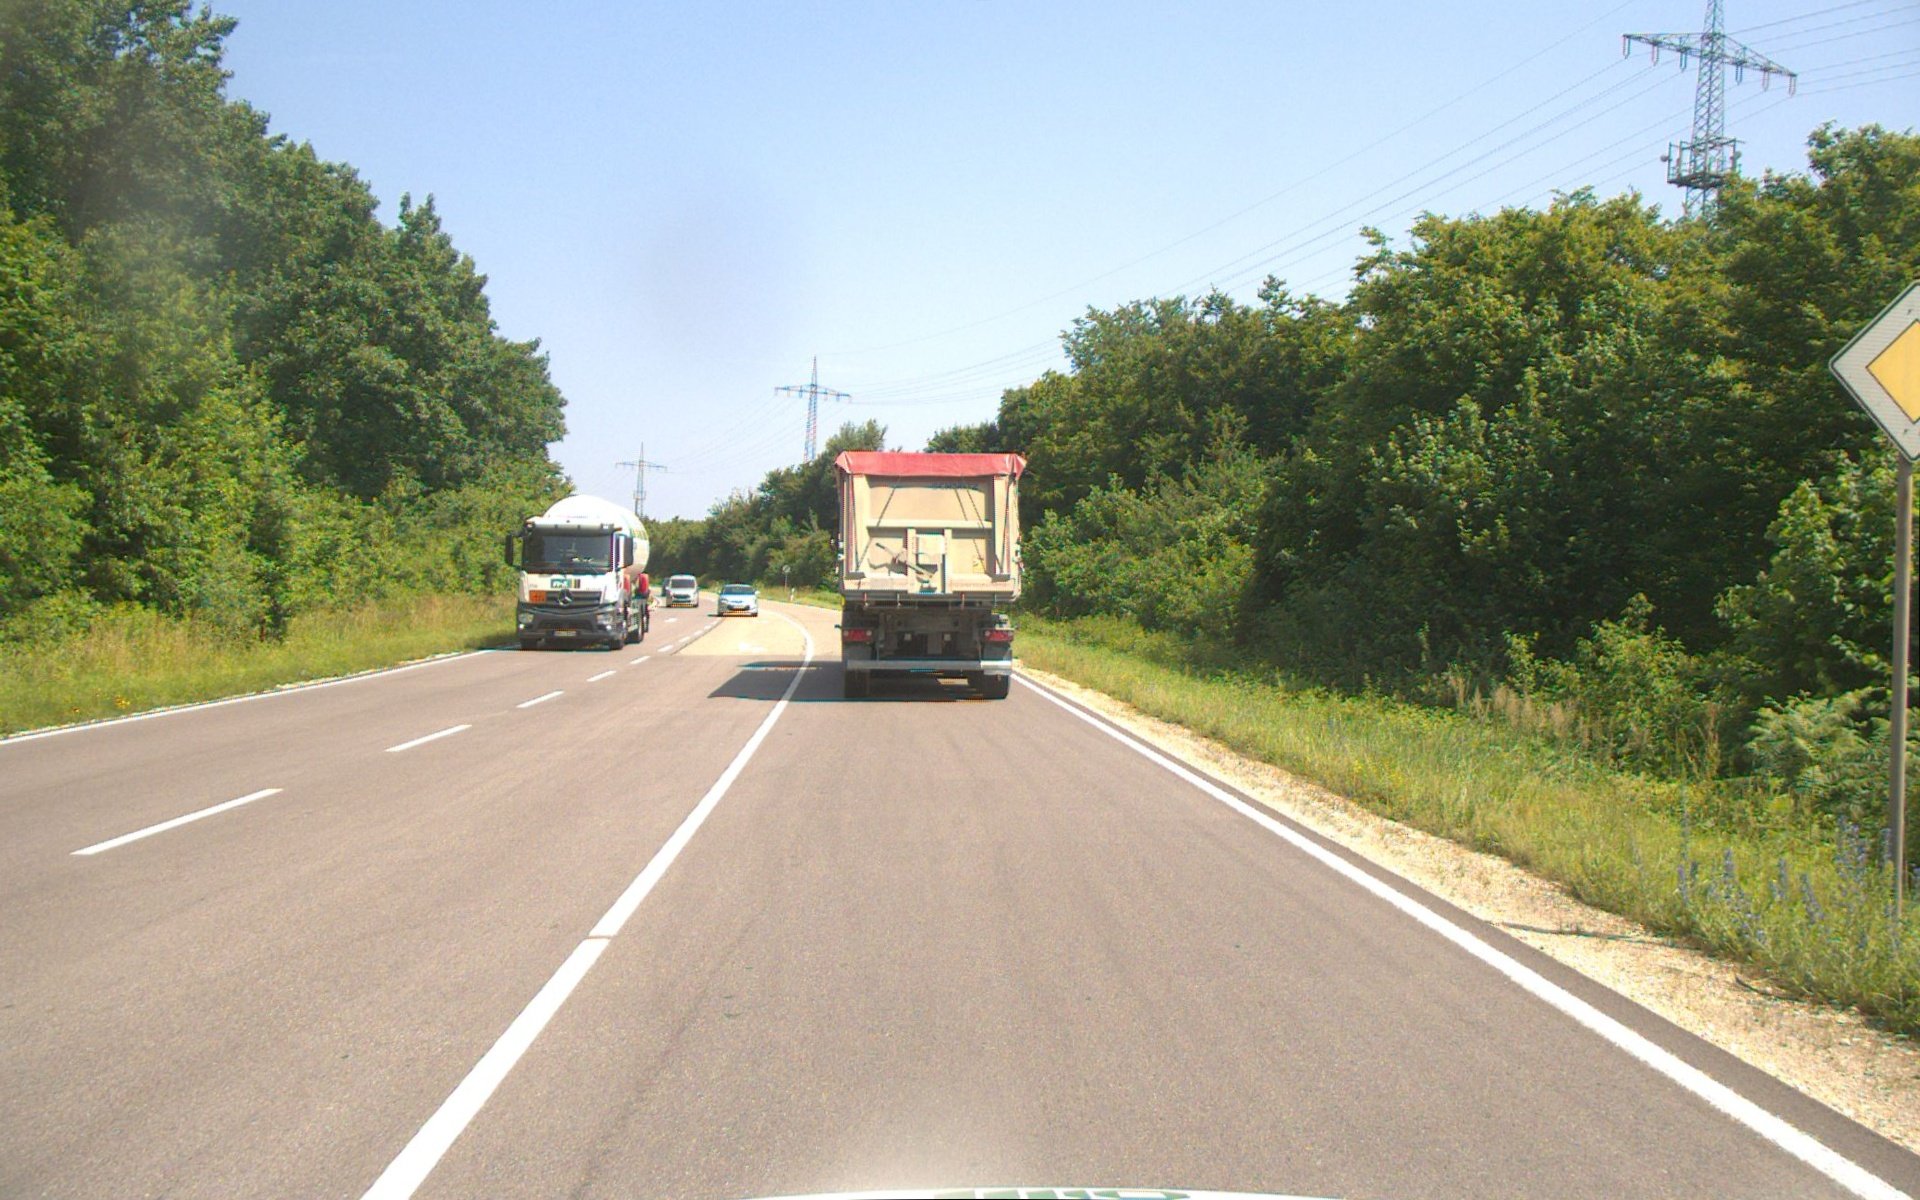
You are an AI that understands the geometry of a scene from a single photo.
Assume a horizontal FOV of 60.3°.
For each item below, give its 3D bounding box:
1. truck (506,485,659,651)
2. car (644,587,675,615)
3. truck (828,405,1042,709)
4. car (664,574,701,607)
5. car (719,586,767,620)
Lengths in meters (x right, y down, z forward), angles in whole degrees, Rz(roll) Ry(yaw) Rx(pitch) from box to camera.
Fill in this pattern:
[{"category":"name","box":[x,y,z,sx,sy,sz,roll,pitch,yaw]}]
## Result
[{"category":"truck","box":[-9.352,-0.735,41.897,2.576,3.735,8.786,1,0,-5]},{"category":"car","box":[-20.485,0.114,112.908,1.807,1.810,4.886,1,-1,-7]},{"category":"truck","box":[-0.776,-0.652,28.112,2.836,4.031,11.922,1,1,-4]},{"category":"car","box":[-15.846,-0.540,94.683,1.807,1.810,4.886,1,-1,-7]},{"category":"car","box":[-9.814,0.150,75.120,1.674,1.444,4.097,1,-1,-1]}]
